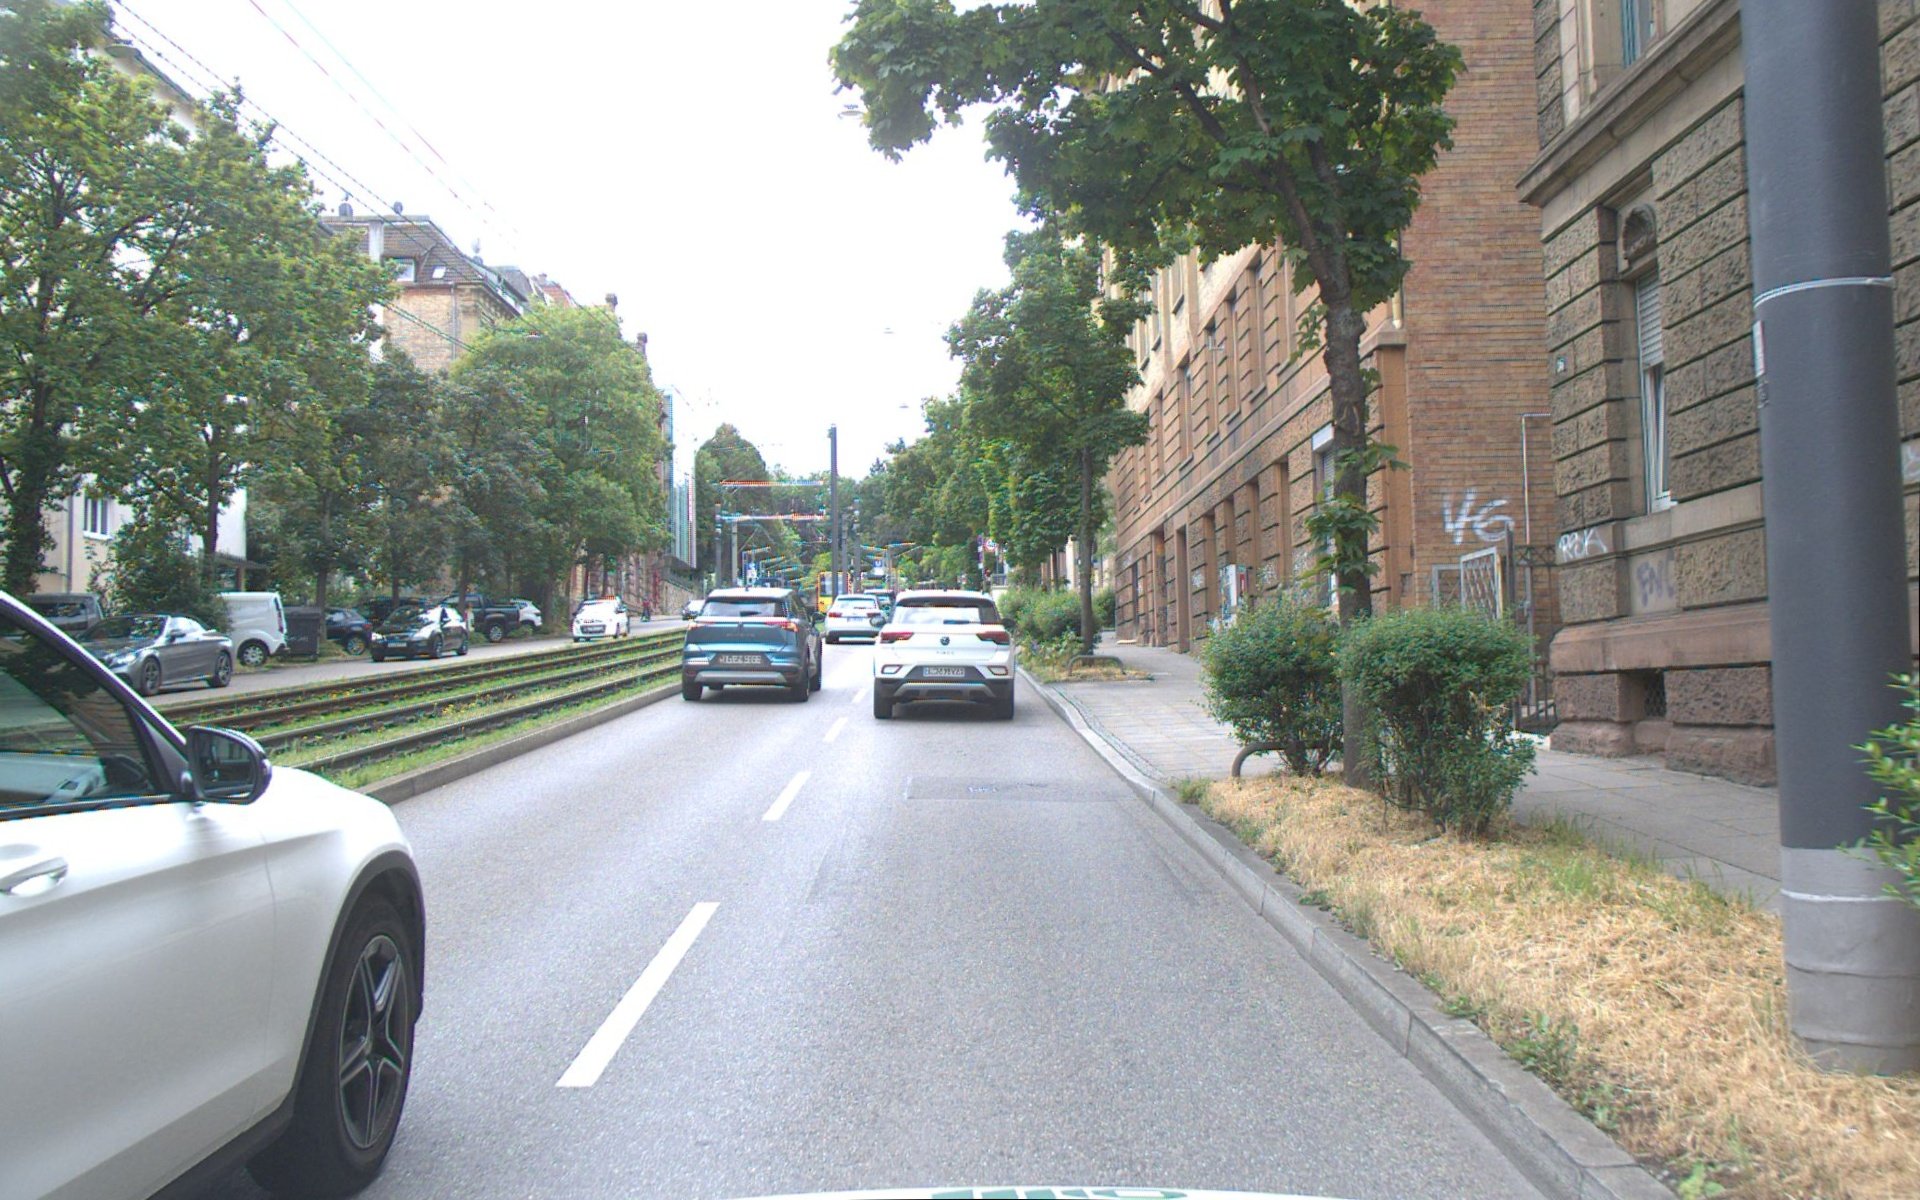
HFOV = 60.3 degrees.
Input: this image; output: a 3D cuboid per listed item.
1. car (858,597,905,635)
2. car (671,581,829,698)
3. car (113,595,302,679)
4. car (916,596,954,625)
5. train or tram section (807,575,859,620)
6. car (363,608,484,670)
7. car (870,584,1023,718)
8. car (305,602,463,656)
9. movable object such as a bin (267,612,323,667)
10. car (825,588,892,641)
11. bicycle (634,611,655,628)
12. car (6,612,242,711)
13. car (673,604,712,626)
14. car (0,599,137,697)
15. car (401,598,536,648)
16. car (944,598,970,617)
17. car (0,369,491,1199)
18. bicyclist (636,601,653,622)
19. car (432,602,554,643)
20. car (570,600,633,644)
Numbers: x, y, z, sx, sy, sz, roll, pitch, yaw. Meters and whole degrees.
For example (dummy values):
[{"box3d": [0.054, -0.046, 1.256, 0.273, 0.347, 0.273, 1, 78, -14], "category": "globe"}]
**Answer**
[{"box3d": [-3.339, 0.676, 70.759, 1.798, 1.573, 4.193, 0, 0, 0], "category": "car"}, {"box3d": [-3.000, 0.533, 24.422, 1.798, 1.573, 4.193, 0, 0, 0], "category": "car"}, {"box3d": [-18.577, 0.880, 40.864, 4.129, 1.868, 1.855, -2, 0, -28], "category": "car"}, {"box3d": [-1.367, 0.578, 90.647, 2.026, 1.573, 4.193, 0, 0, 0], "category": "car"}, {"box3d": [-10.101, -0.193, 133.169, 2.934, 3.407, 13.439, -1, 0, 1], "category": "train or tram section"}, {"box3d": [-14.575, 1.025, 45.197, 1.828, 1.460, 4.492, -4, 0, -1], "category": "car"}, {"box3d": [-0.209, 0.600, 21.599, 1.798, 1.573, 4.192, 0, 0, -1], "category": "car"}, {"box3d": [-18.773, 0.911, 53.962, 4.551, 1.711, 1.913, 0, 0, -34], "category": "car"}, {"box3d": [-17.621, 1.036, 43.878, 1.254, 1.425, 1.091, 0, 0, -16], "category": "movable object such as a bin"}, {"box3d": [-3.061, 0.427, 50.571, 1.798, 1.573, 4.193, 0, 0, 0], "category": "car"}, {"box3d": [-21.983, 1.368, 115.206, 0.919, 1.119, 2.702, -2, 0, -1], "category": "bicycle"}, {"box3d": [-14.287, 1.001, 28.588, 1.690, 1.434, 4.597, -3, 0, 0], "category": "car"}, {"box3d": [-18.564, 1.042, 114.983, 1.952, 1.427, 4.000, -2, 0, 0], "category": "car"}, {"box3d": [-18.461, 0.947, 32.308, 4.135, 1.798, 1.852, -2, 0, -31], "category": "car"}, {"box3d": [-18.557, 0.857, 62.591, 1.902, 1.829, 4.578, 0, 0, 42], "category": "car"}, {"box3d": [-0.245, 0.605, 133.825, 2.026, 1.573, 4.193, 0, 0, 0], "category": "car"}, {"box3d": [-2.250, 0.526, 2.572, 1.798, 1.696, 4.669, 0, 0, -1], "category": "car"}, {"box3d": [-21.999, 0.787, 115.250, 0.919, 1.450, 1.188, -2, 0, -1], "category": "bicyclist"}, {"box3d": [-19.344, 0.915, 68.598, 4.553, 1.646, 1.913, 0, 0, -35], "category": "car"}, {"box3d": [-13.027, 0.775, 60.241, 1.556, 1.460, 3.412, -3, 0, -1], "category": "car"}]
